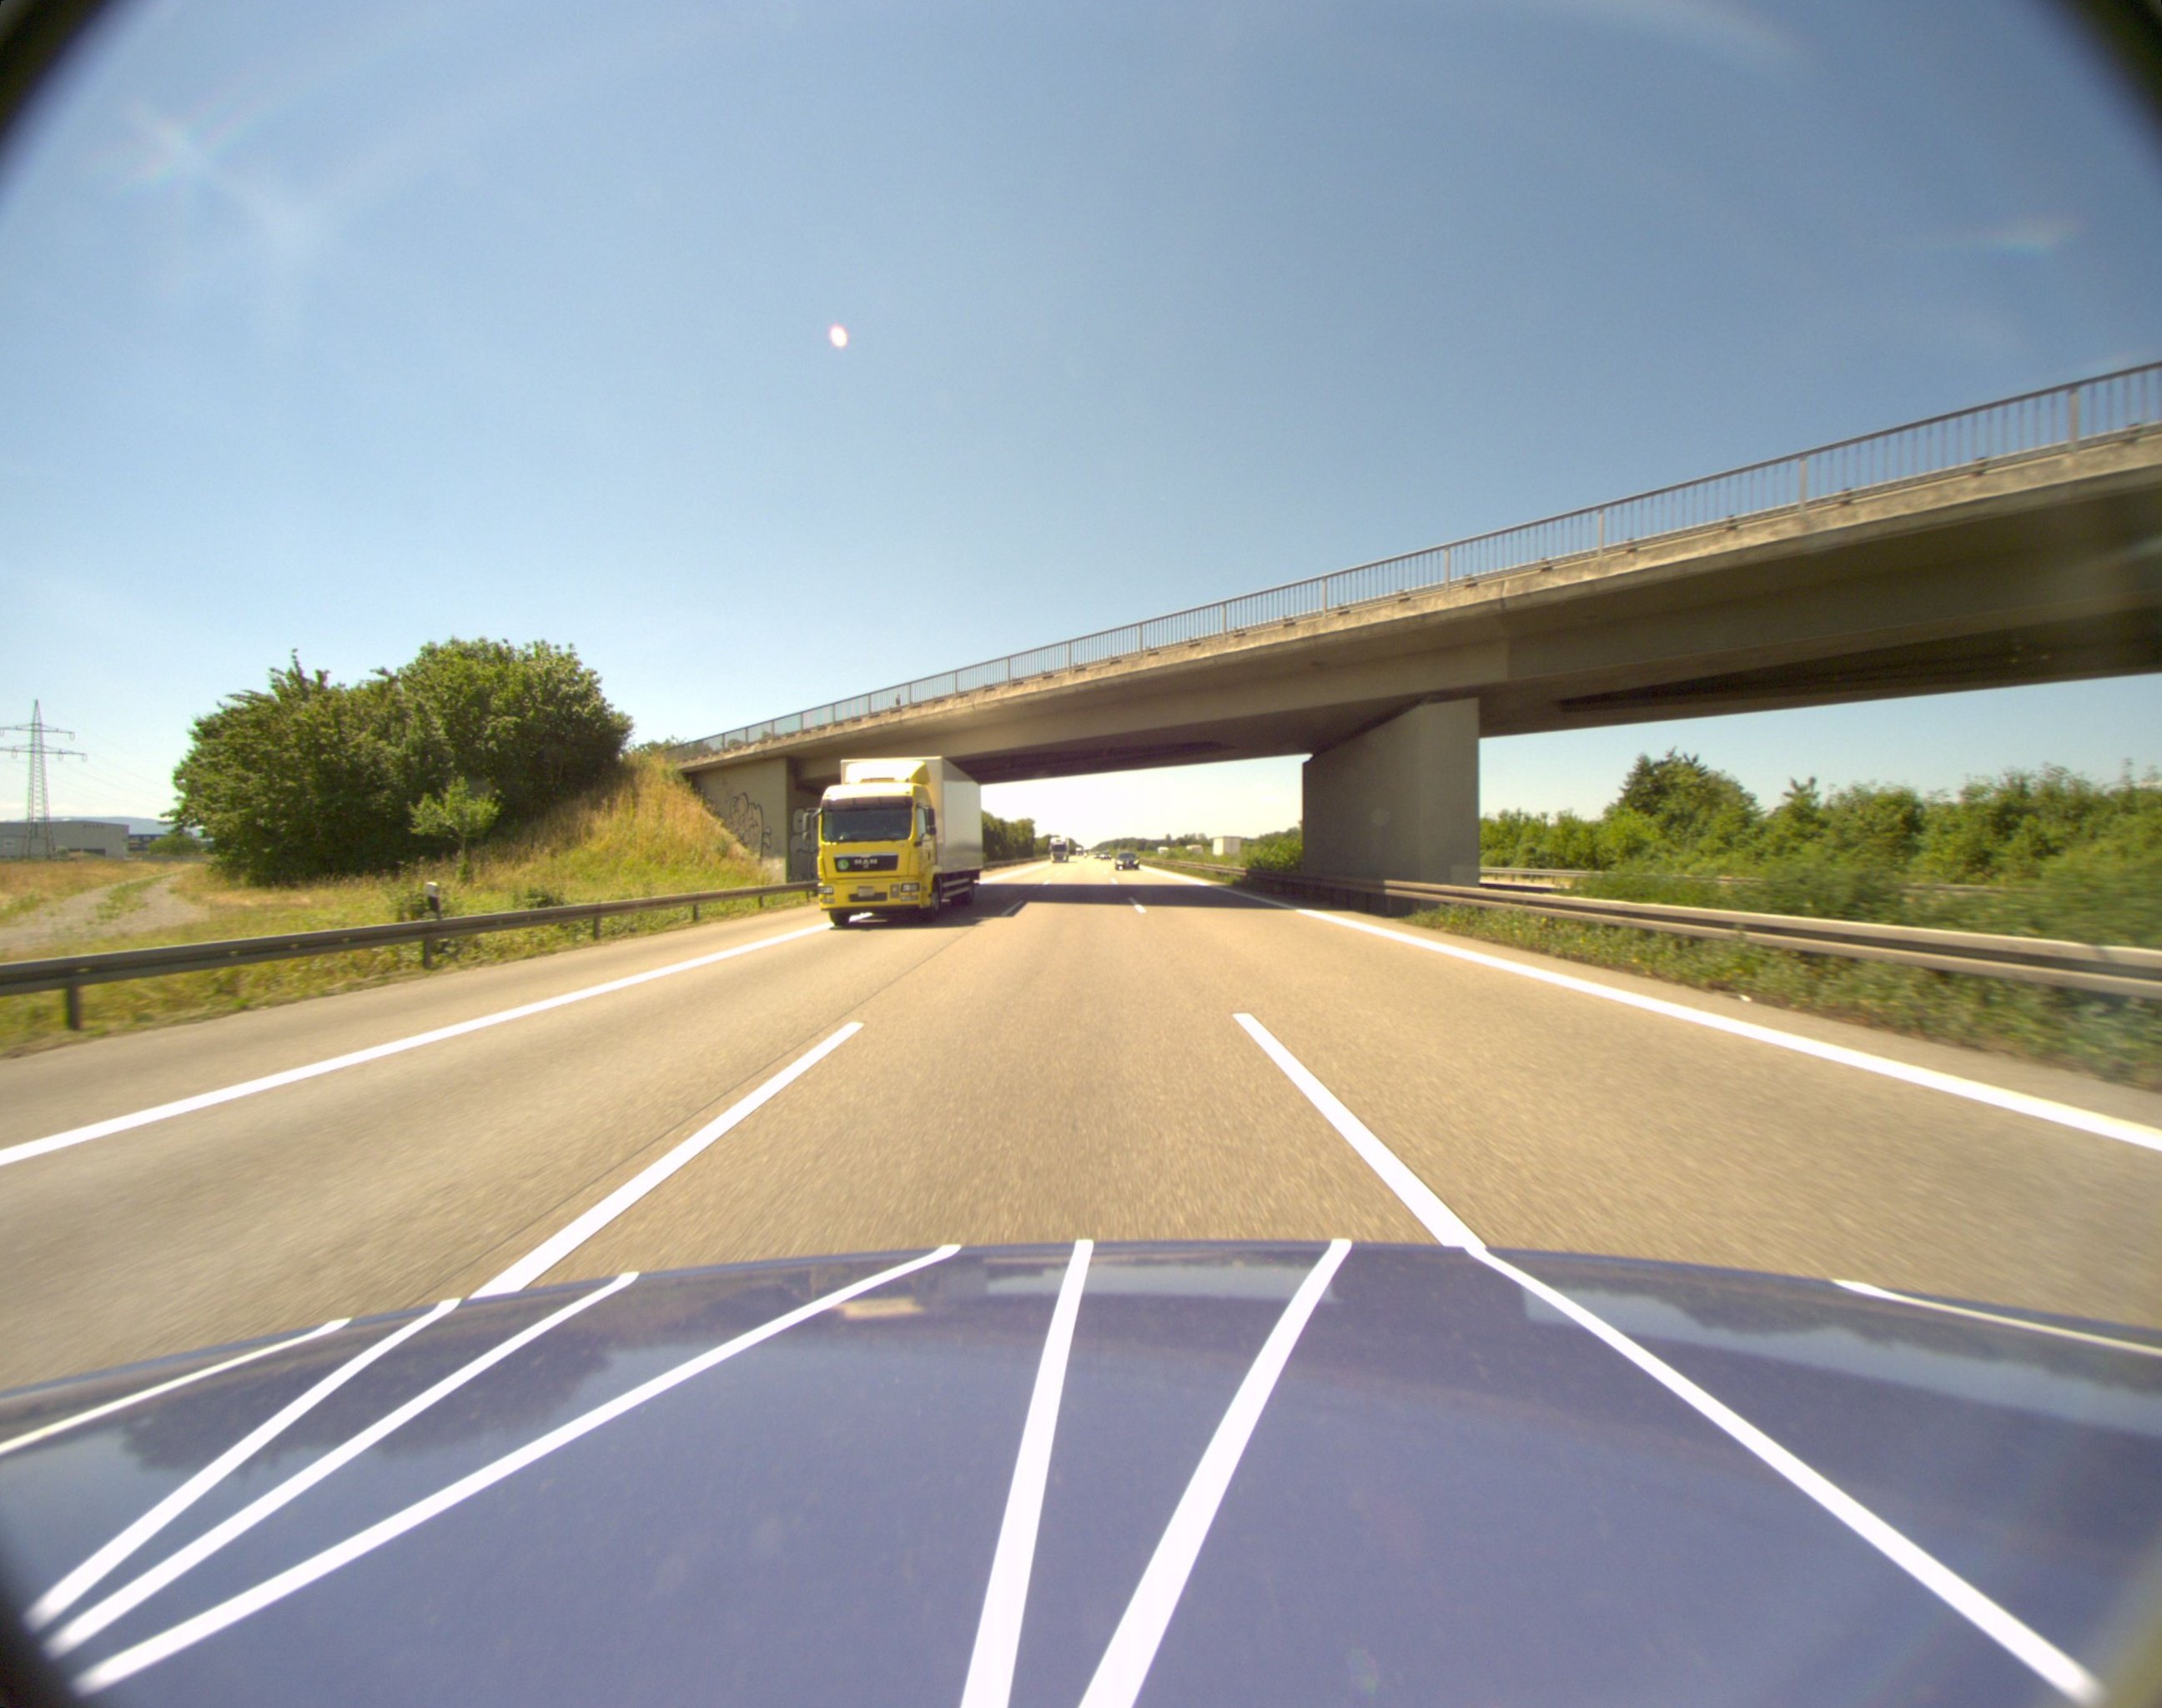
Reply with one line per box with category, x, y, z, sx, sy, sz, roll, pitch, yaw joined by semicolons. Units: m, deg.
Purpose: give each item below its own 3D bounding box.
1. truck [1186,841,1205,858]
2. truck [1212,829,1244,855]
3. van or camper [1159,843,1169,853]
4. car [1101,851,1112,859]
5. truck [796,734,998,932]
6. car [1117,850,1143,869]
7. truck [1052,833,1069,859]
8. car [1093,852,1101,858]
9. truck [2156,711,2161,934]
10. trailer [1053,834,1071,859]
truck;17.219;-0.717;114.702;1.998;2.385;6.419;-2;0;2
truck;21.996;-1.757;114.313;2.884;3.477;10.735;-2;0;1
van or camper;22.336;-1.585;205.747;1.998;2.530;6.298;-2;0;0
car;4.446;0.189;135.094;1.811;1.417;4.000;-2;0;1
truck;-4.567;-0.473;21.797;2.941;4.175;10.680;-2;0;0
car;3.953;0.410;61.845;1.811;1.459;4.000;-2;0;1
truck;-3.294;-1.244;123.541;2.476;4.038;6.319;-2;0;1
car;3.653;0.216;173.122;1.811;1.417;4.000;-2;0;1
truck;20.050;-0.580;9.987;2.618;3.875;6.499;-2;0;0
trailer;-3.213;-1.284;130.223;2.476;4.038;13.879;-2;0;1
